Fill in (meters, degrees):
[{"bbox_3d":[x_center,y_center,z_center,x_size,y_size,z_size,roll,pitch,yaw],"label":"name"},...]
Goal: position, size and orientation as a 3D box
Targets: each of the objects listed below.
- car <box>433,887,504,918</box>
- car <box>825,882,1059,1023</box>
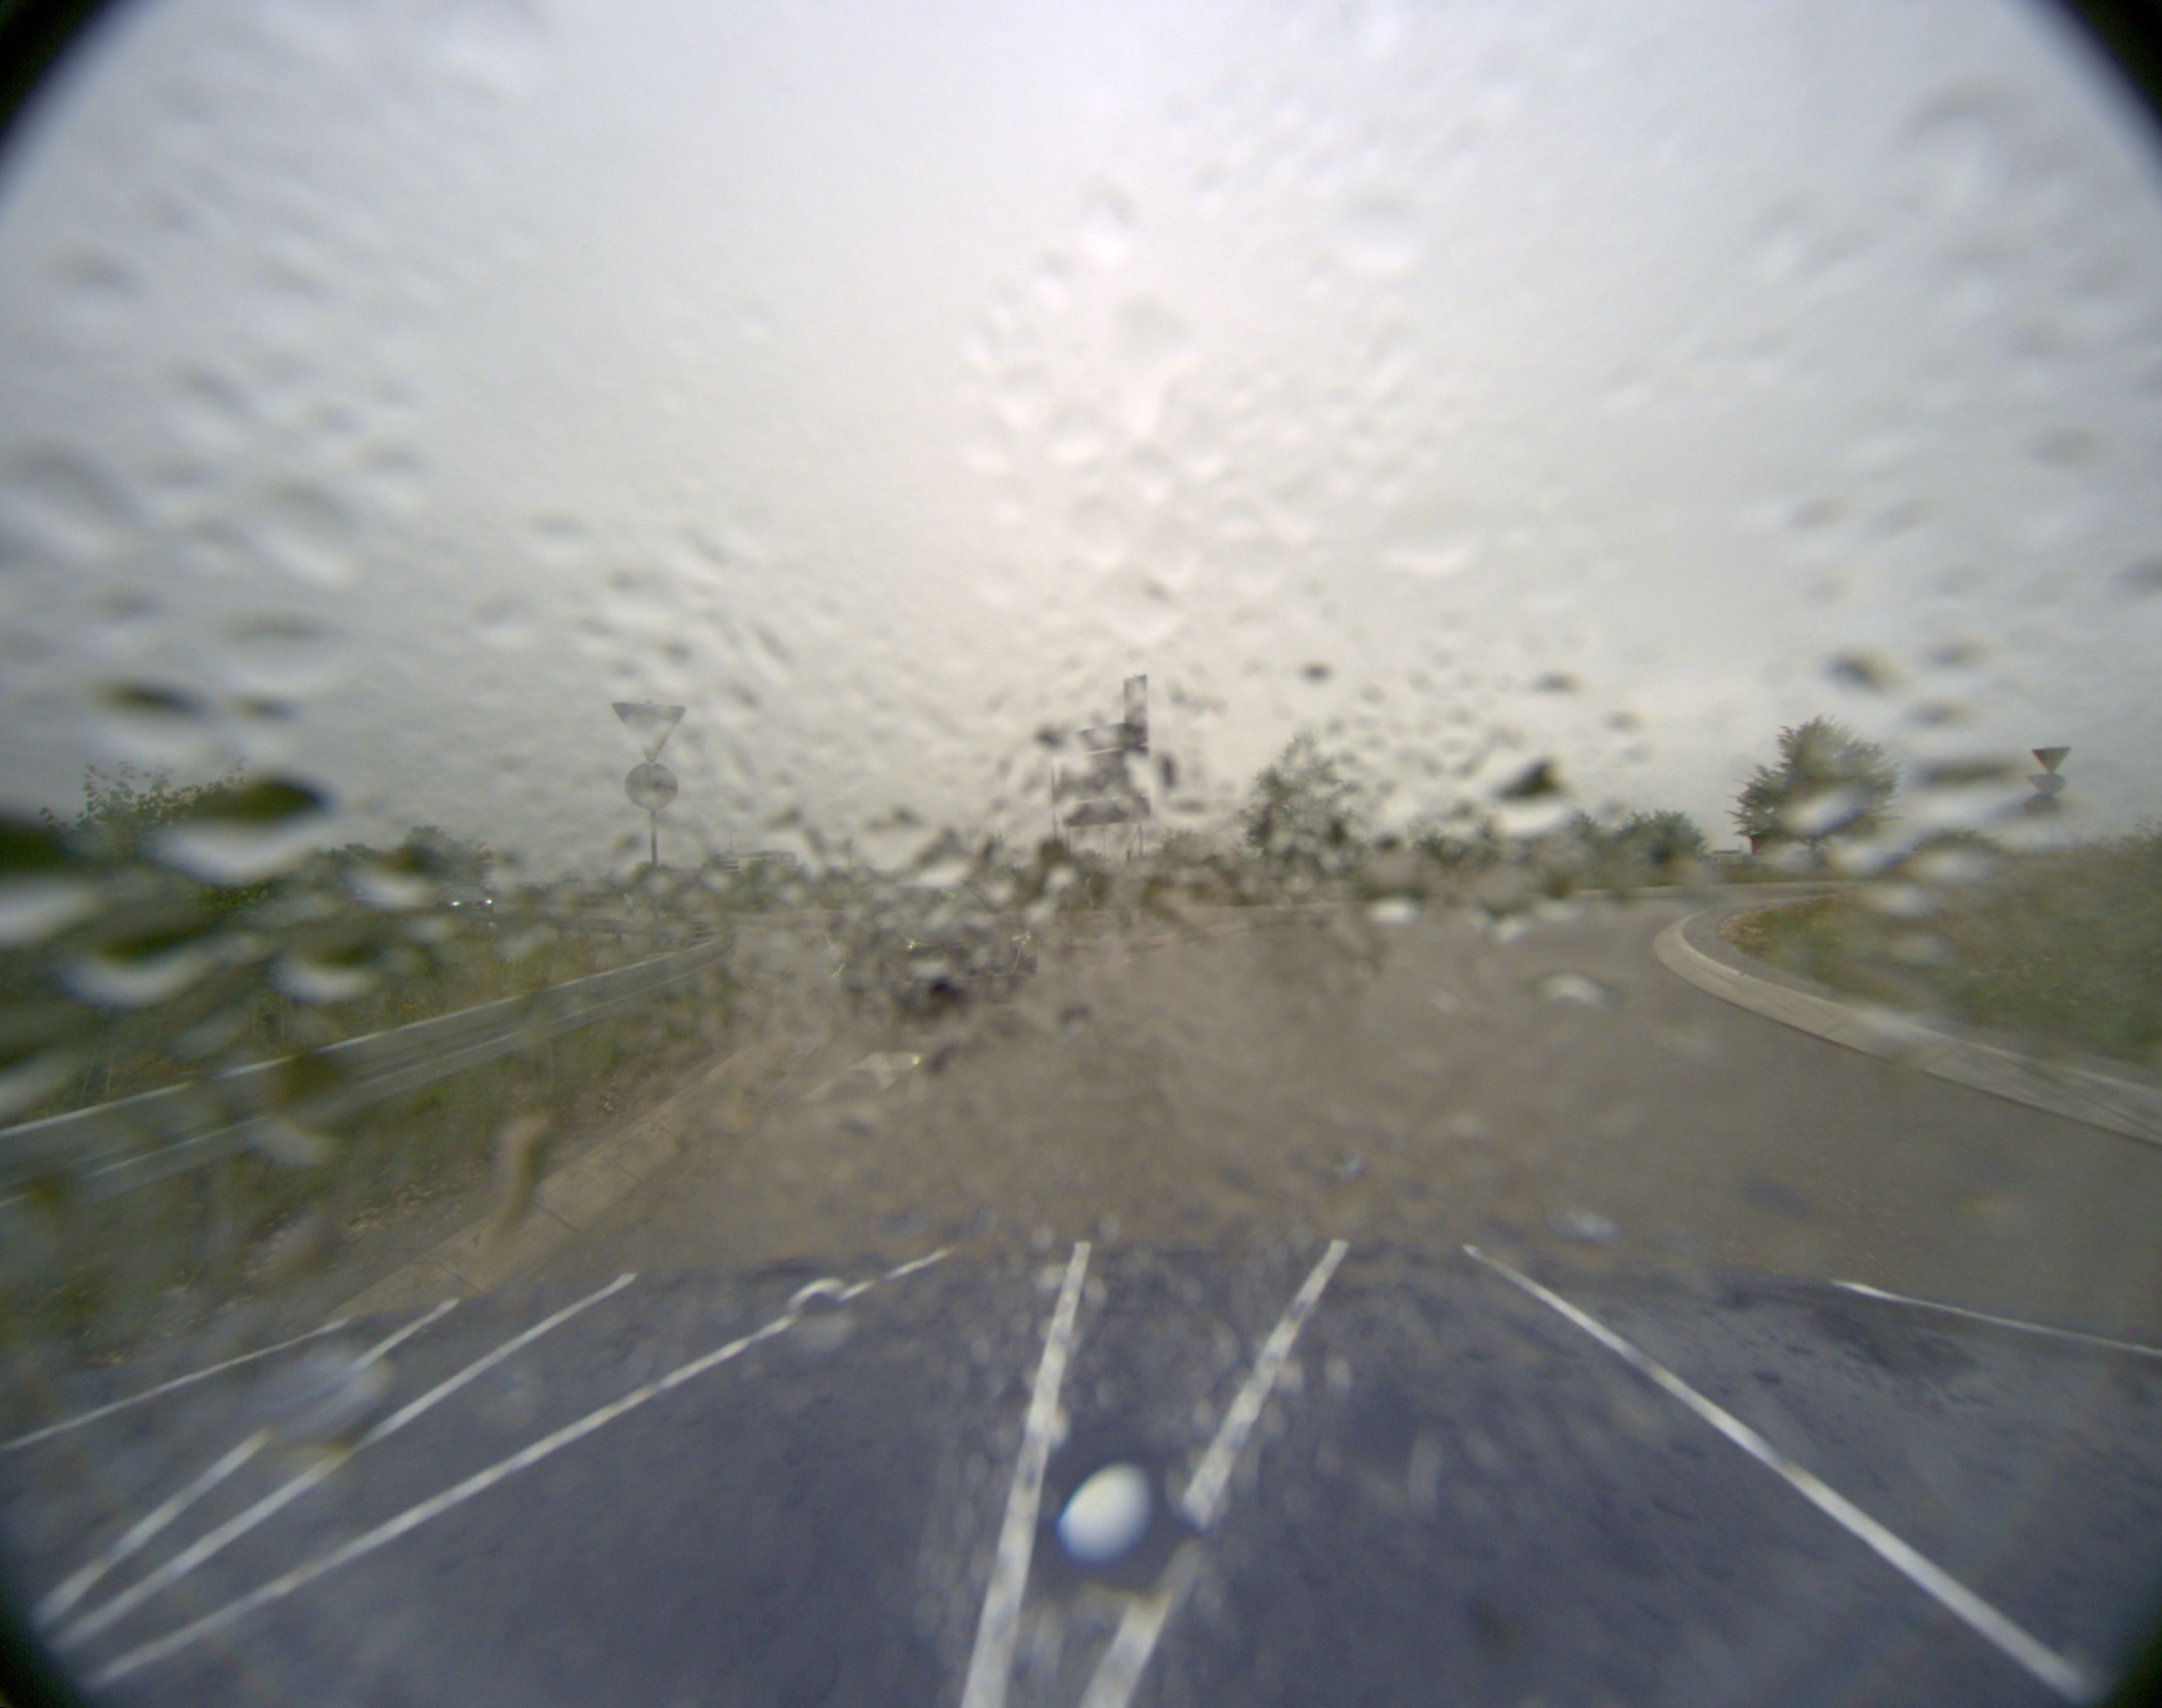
[{"bbox_3d":[-31.716,2.465,39.307,4.552,1.361,1.914,-2,0,39],"label":"car"},{"bbox_3d":[-2.180,1.142,10.557,1.913,1.361,4.556,-3,0,-27],"label":"car"}]
